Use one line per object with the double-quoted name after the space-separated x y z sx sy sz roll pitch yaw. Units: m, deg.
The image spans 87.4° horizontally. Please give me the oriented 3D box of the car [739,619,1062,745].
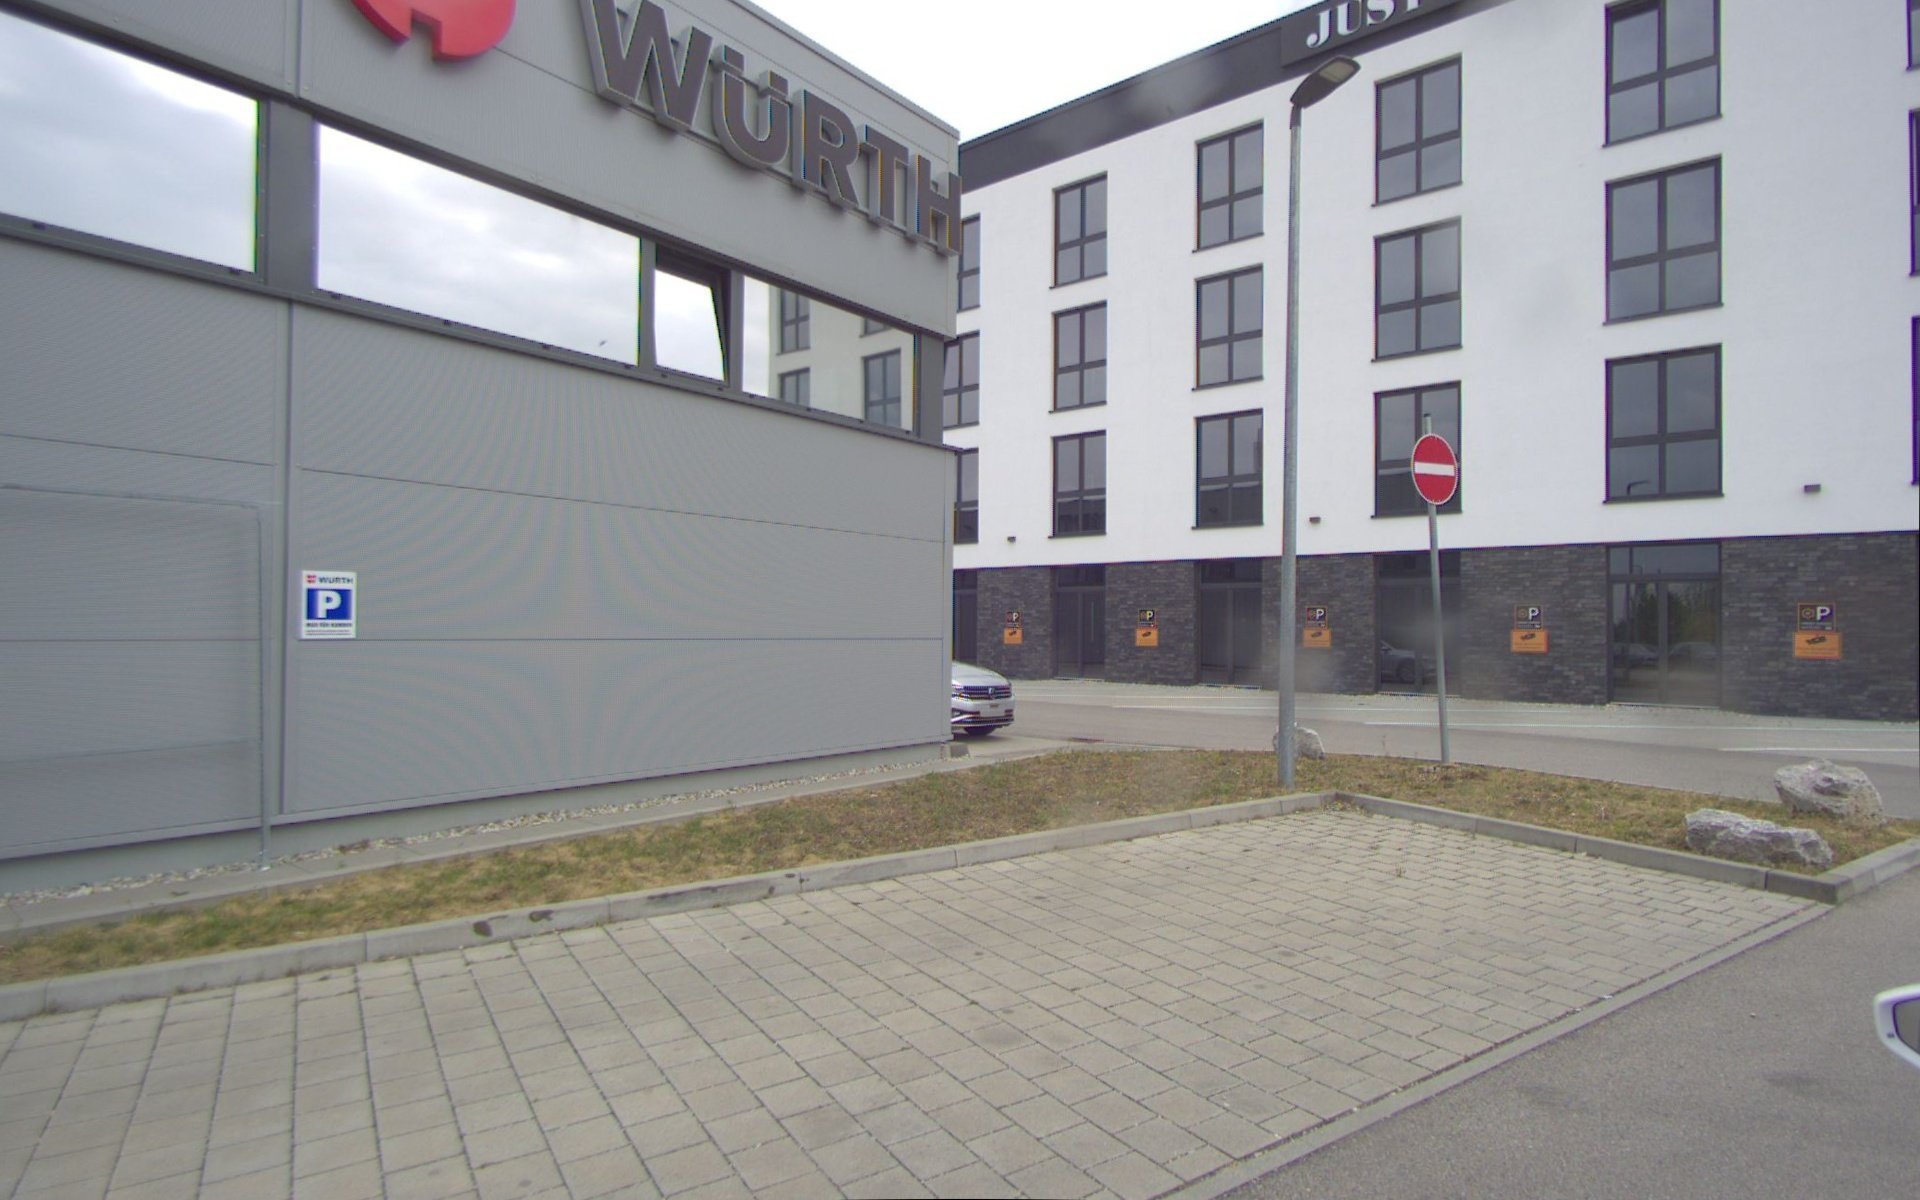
-1.005 1.074 14.451 4.705 1.511 1.969 -1 -4 44 "car"
